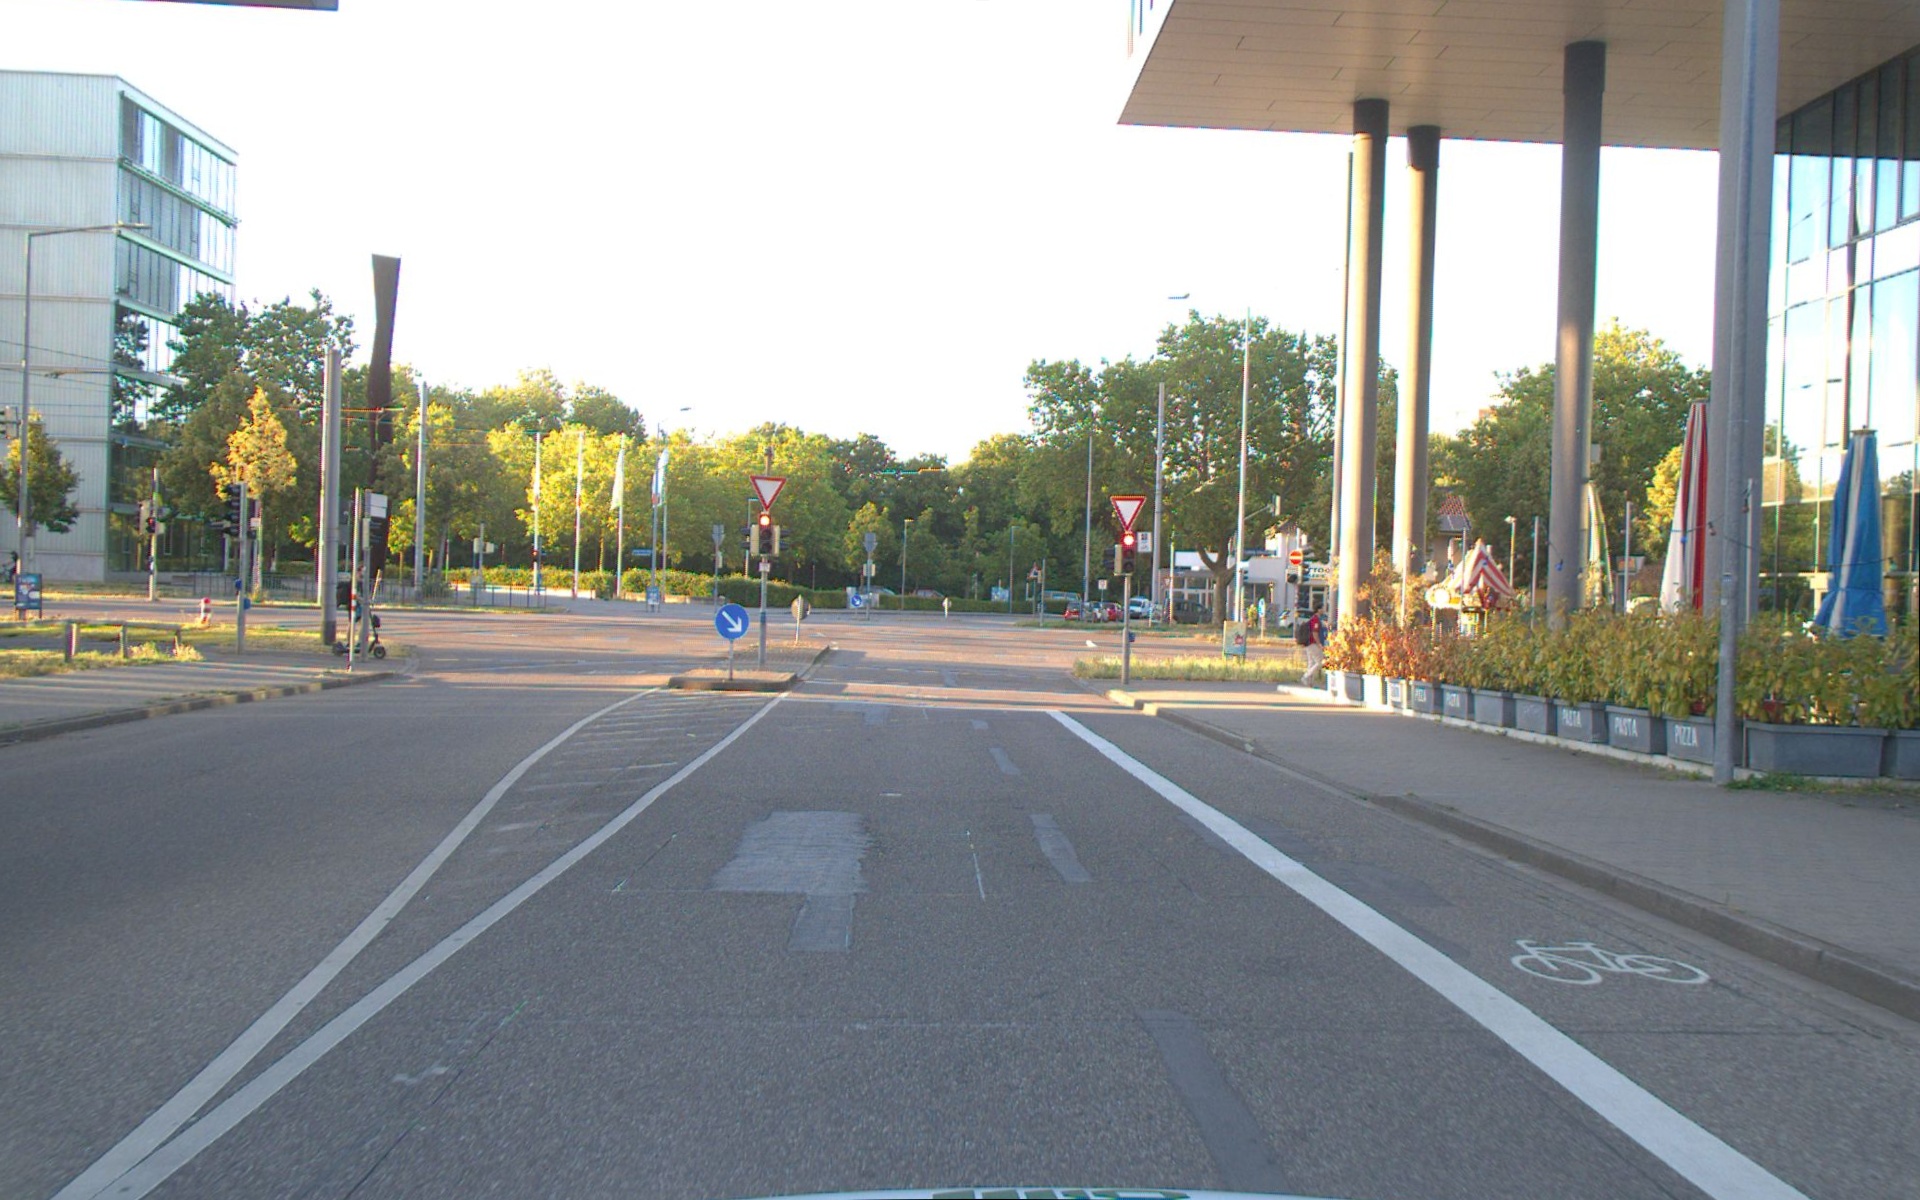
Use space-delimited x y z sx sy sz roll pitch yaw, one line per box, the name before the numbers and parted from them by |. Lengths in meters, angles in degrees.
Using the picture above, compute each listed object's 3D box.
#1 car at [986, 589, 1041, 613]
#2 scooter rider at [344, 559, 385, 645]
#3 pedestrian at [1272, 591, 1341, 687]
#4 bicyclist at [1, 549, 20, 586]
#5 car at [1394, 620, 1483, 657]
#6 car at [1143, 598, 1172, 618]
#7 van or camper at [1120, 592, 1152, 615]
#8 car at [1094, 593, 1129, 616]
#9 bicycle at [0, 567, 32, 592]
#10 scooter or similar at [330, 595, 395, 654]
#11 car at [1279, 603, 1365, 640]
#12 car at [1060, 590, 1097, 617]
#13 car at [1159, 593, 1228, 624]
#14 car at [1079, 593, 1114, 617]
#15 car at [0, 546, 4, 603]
car | 4.624 0.093 143.443 4.585 1.901 2.014 2 1 5
scooter rider | -12.756 0.039 35.428 0.692 1.813 0.442 2 1 -5
pedestrian | 6.999 0.785 33.468 1.036 1.865 0.892 1 1 -14
bicyclist | -45.973 -1.585 80.085 0.747 1.753 0.548 1 1 -26
car | 26.765 2.160 92.565 4.375 1.848 1.945 2 1 0
car | 16.202 0.625 135.777 1.467 1.503 3.082 2 2 25
van or camper | 16.154 0.331 151.779 1.594 2.016 3.801 2 2 28
car | 11.375 0.351 123.978 1.467 1.634 3.401 2 2 25
bicycle | -46.077 -0.987 80.062 1.939 1.148 0.555 1 1 -27
scooter or similar | -12.791 0.524 35.430 1.190 1.221 0.503 2 1 -5
car | 20.343 1.197 92.986 4.375 1.848 1.945 2 1 0
car | 8.380 0.205 116.574 1.467 1.791 3.401 2 2 25
car | 15.492 0.553 110.022 4.373 1.848 1.946 2 1 4
car | 9.945 0.332 120.314 1.467 1.634 3.401 2 2 25
car | -33.681 -0.876 53.419 4.378 1.848 1.944 2 1 -3
